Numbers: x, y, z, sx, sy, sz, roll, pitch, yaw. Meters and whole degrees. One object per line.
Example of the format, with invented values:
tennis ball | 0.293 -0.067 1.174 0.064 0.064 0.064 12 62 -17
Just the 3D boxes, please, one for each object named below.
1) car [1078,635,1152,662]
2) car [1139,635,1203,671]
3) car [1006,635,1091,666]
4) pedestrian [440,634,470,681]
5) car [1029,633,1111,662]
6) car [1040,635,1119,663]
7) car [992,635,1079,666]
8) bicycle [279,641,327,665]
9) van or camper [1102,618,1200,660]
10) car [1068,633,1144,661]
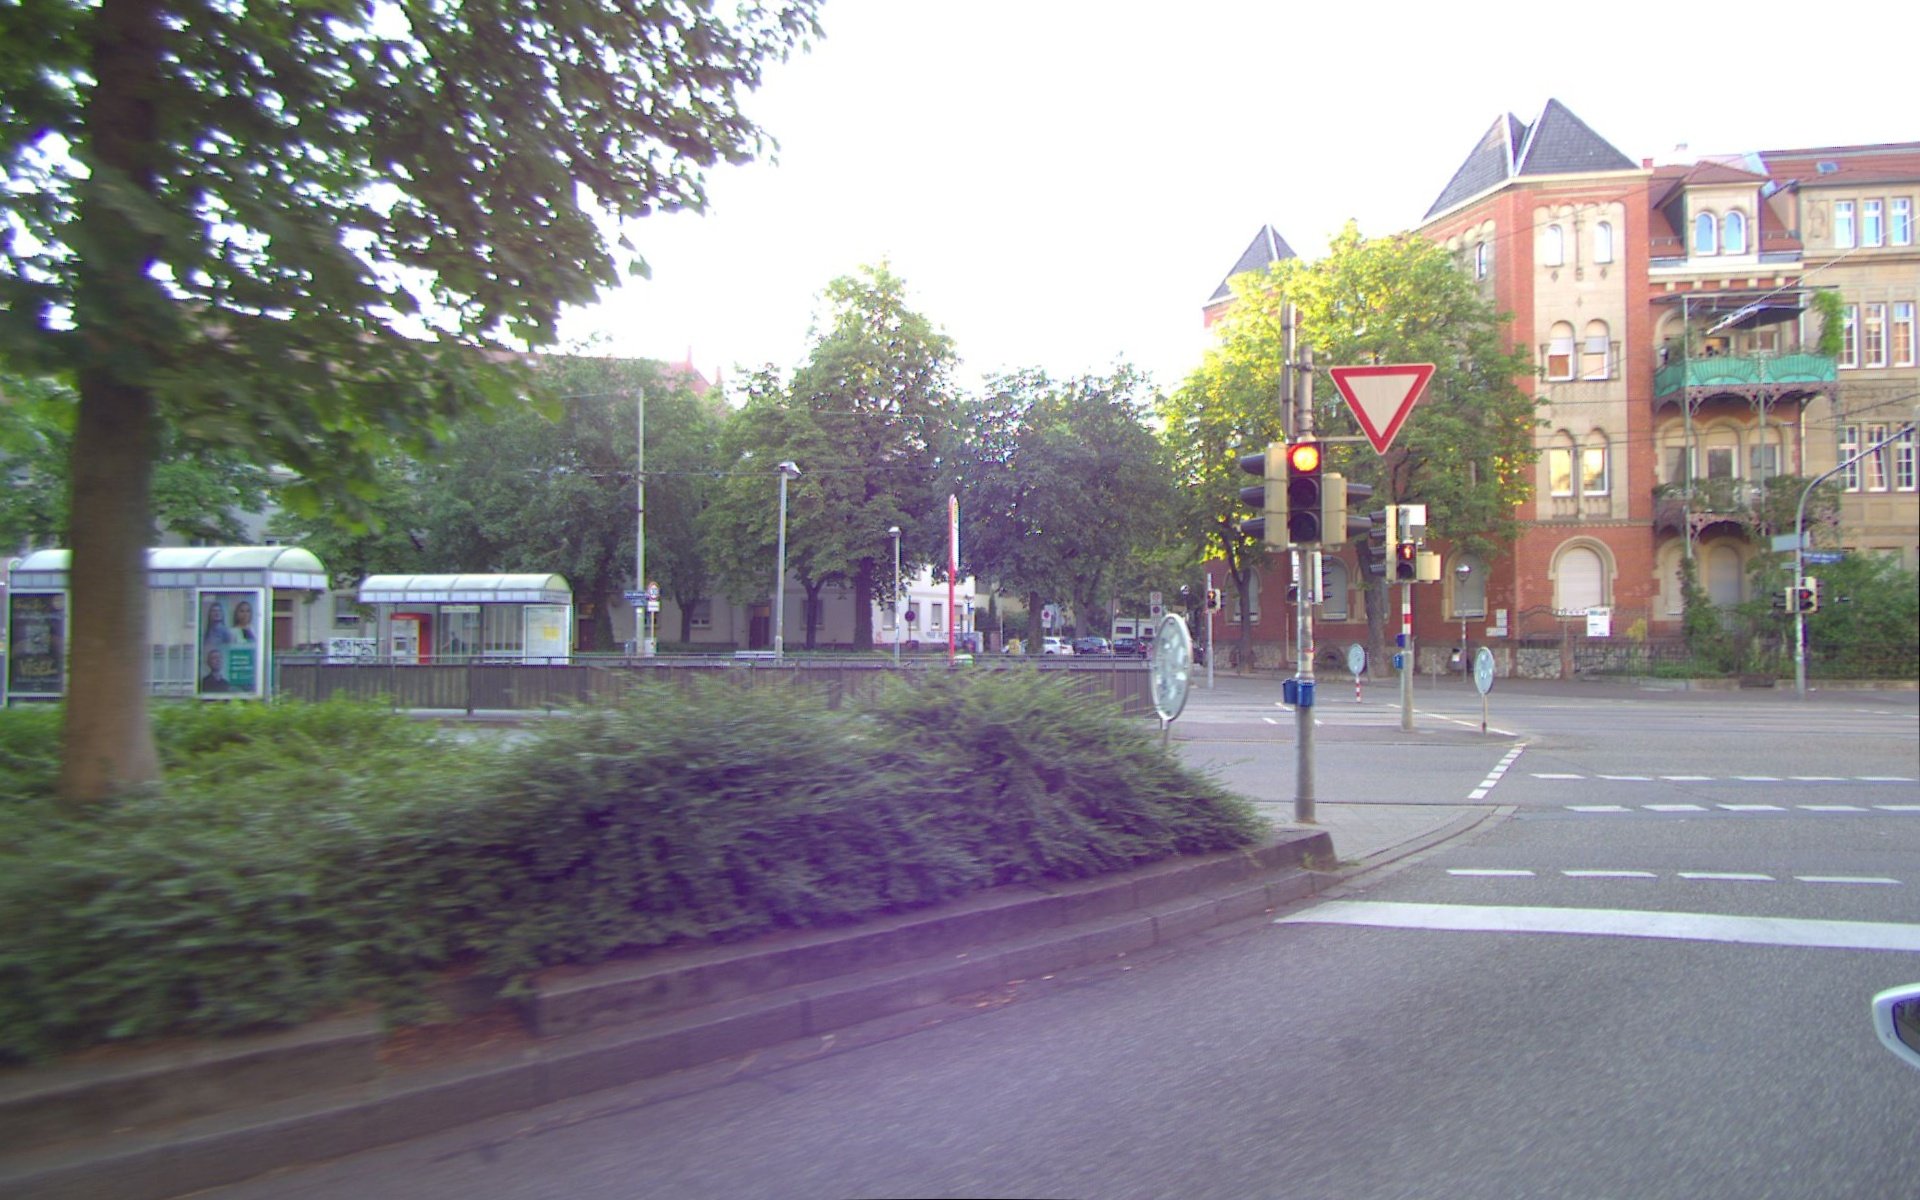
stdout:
car | 11.024 3.428 71.508 4.874 1.726 1.998 1 -2 27
car | 11.041 2.721 52.275 1.964 1.726 4.713 1 -2 29
car | 5.519 3.141 62.810 4.874 1.726 1.998 1 -2 27
pedestrian | -22.999 2.606 45.728 1.050 2.113 1.004 2 -2 -36
car | 7.088 3.042 64.637 4.874 1.726 1.998 1 -2 27
car | 8.049 3.286 67.558 4.874 1.726 1.998 1 -2 27
car | 4.549 3.015 60.797 4.874 1.726 1.998 1 -2 27
bicycle | -32.453 2.595 49.619 1.894 1.166 0.682 1 -2 -26
van or camper | 15.330 3.084 80.801 7.252 3.124 2.671 1 -1 27
car | 10.135 3.232 69.750 4.874 1.726 1.998 1 -2 27
